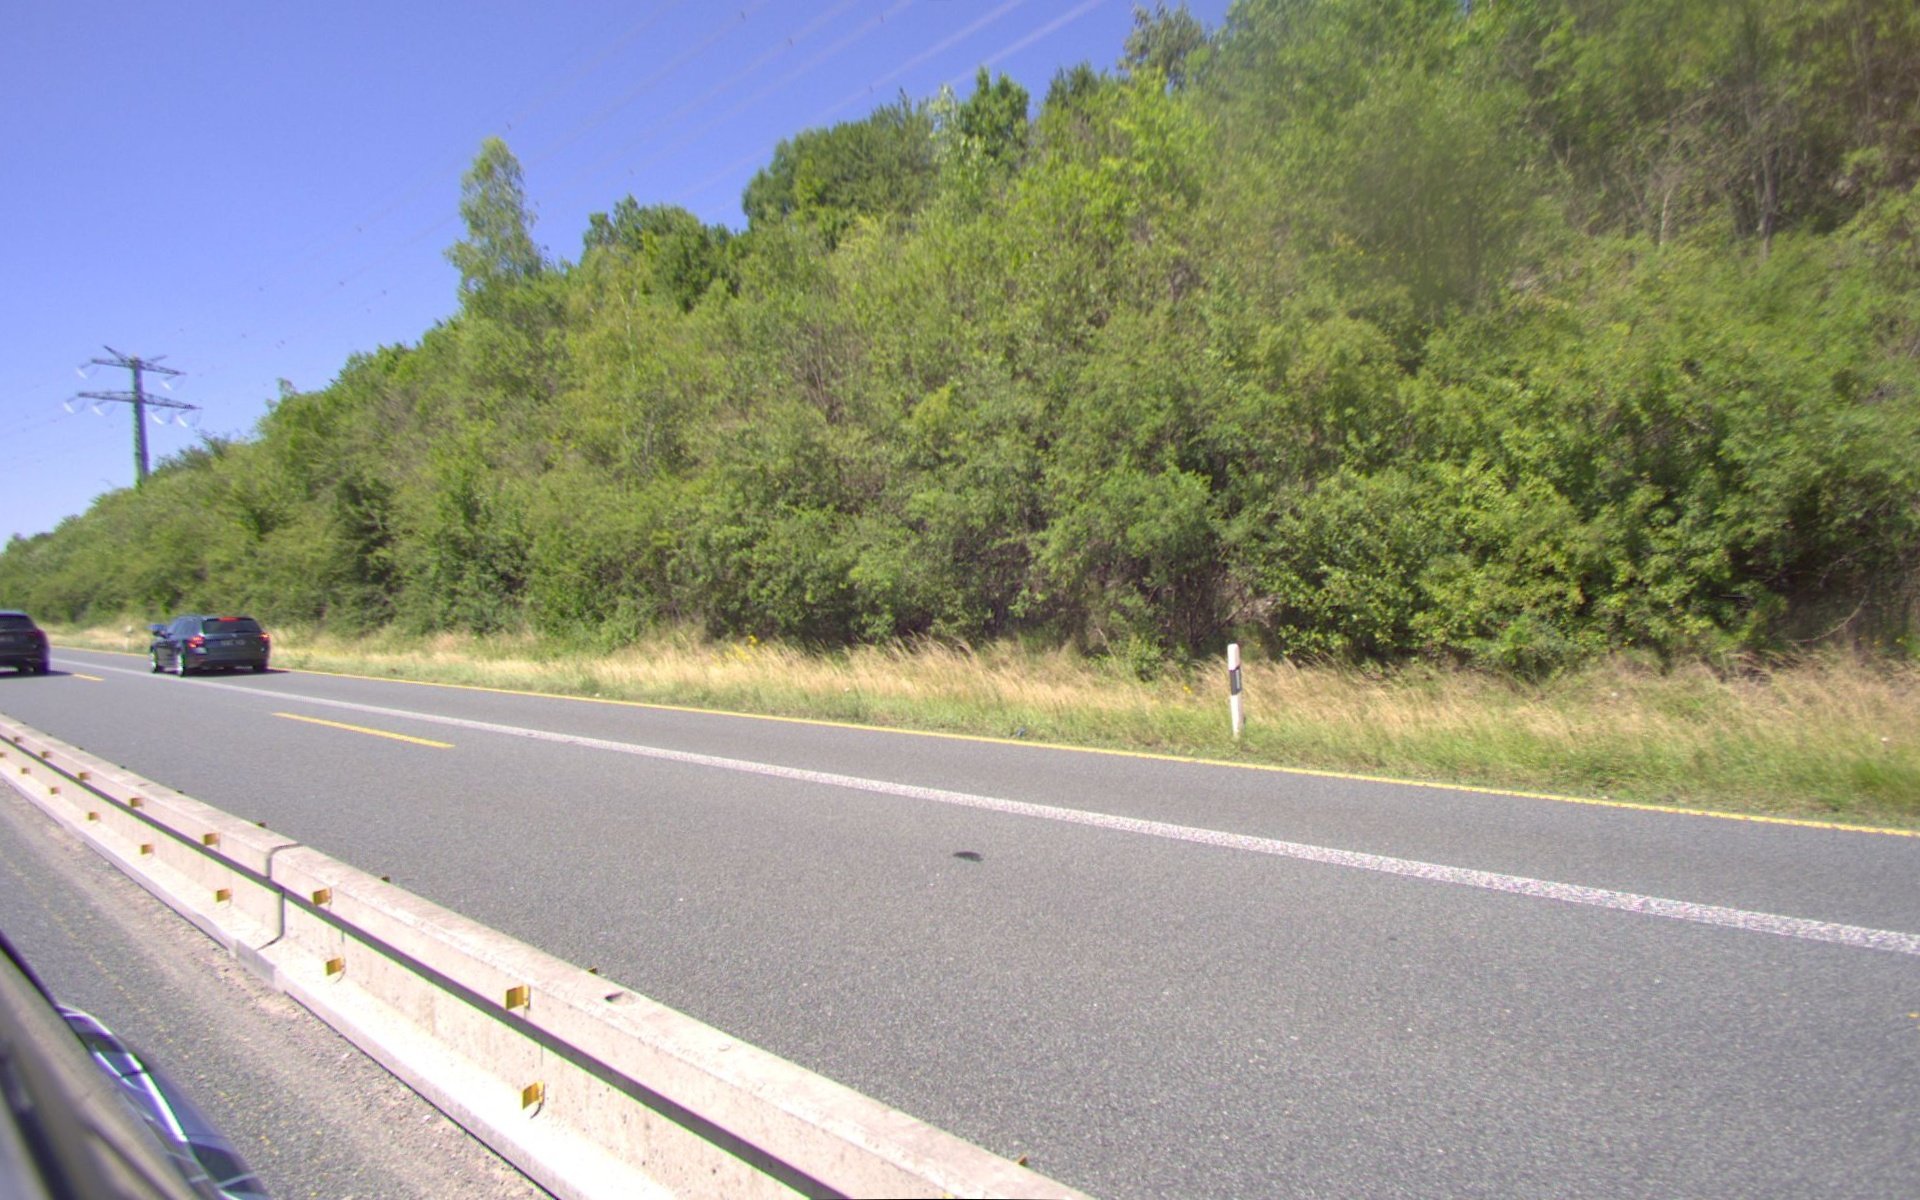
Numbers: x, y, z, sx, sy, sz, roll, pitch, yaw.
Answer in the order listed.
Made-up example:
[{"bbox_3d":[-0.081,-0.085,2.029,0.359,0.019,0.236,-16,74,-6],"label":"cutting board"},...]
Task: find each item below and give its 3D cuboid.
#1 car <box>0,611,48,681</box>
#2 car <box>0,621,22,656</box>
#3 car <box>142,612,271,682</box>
[{"bbox_3d":[-24.677,1.160,25.572,4.696,1.622,1.825,-1,1,41],"label":"car"},{"bbox_3d":[-45.510,1.814,47.550,3.992,1.577,1.682,-1,0,41],"label":"car"},{"bbox_3d":[-18.602,1.110,24.912,4.182,1.533,1.705,-1,0,41],"label":"car"}]
